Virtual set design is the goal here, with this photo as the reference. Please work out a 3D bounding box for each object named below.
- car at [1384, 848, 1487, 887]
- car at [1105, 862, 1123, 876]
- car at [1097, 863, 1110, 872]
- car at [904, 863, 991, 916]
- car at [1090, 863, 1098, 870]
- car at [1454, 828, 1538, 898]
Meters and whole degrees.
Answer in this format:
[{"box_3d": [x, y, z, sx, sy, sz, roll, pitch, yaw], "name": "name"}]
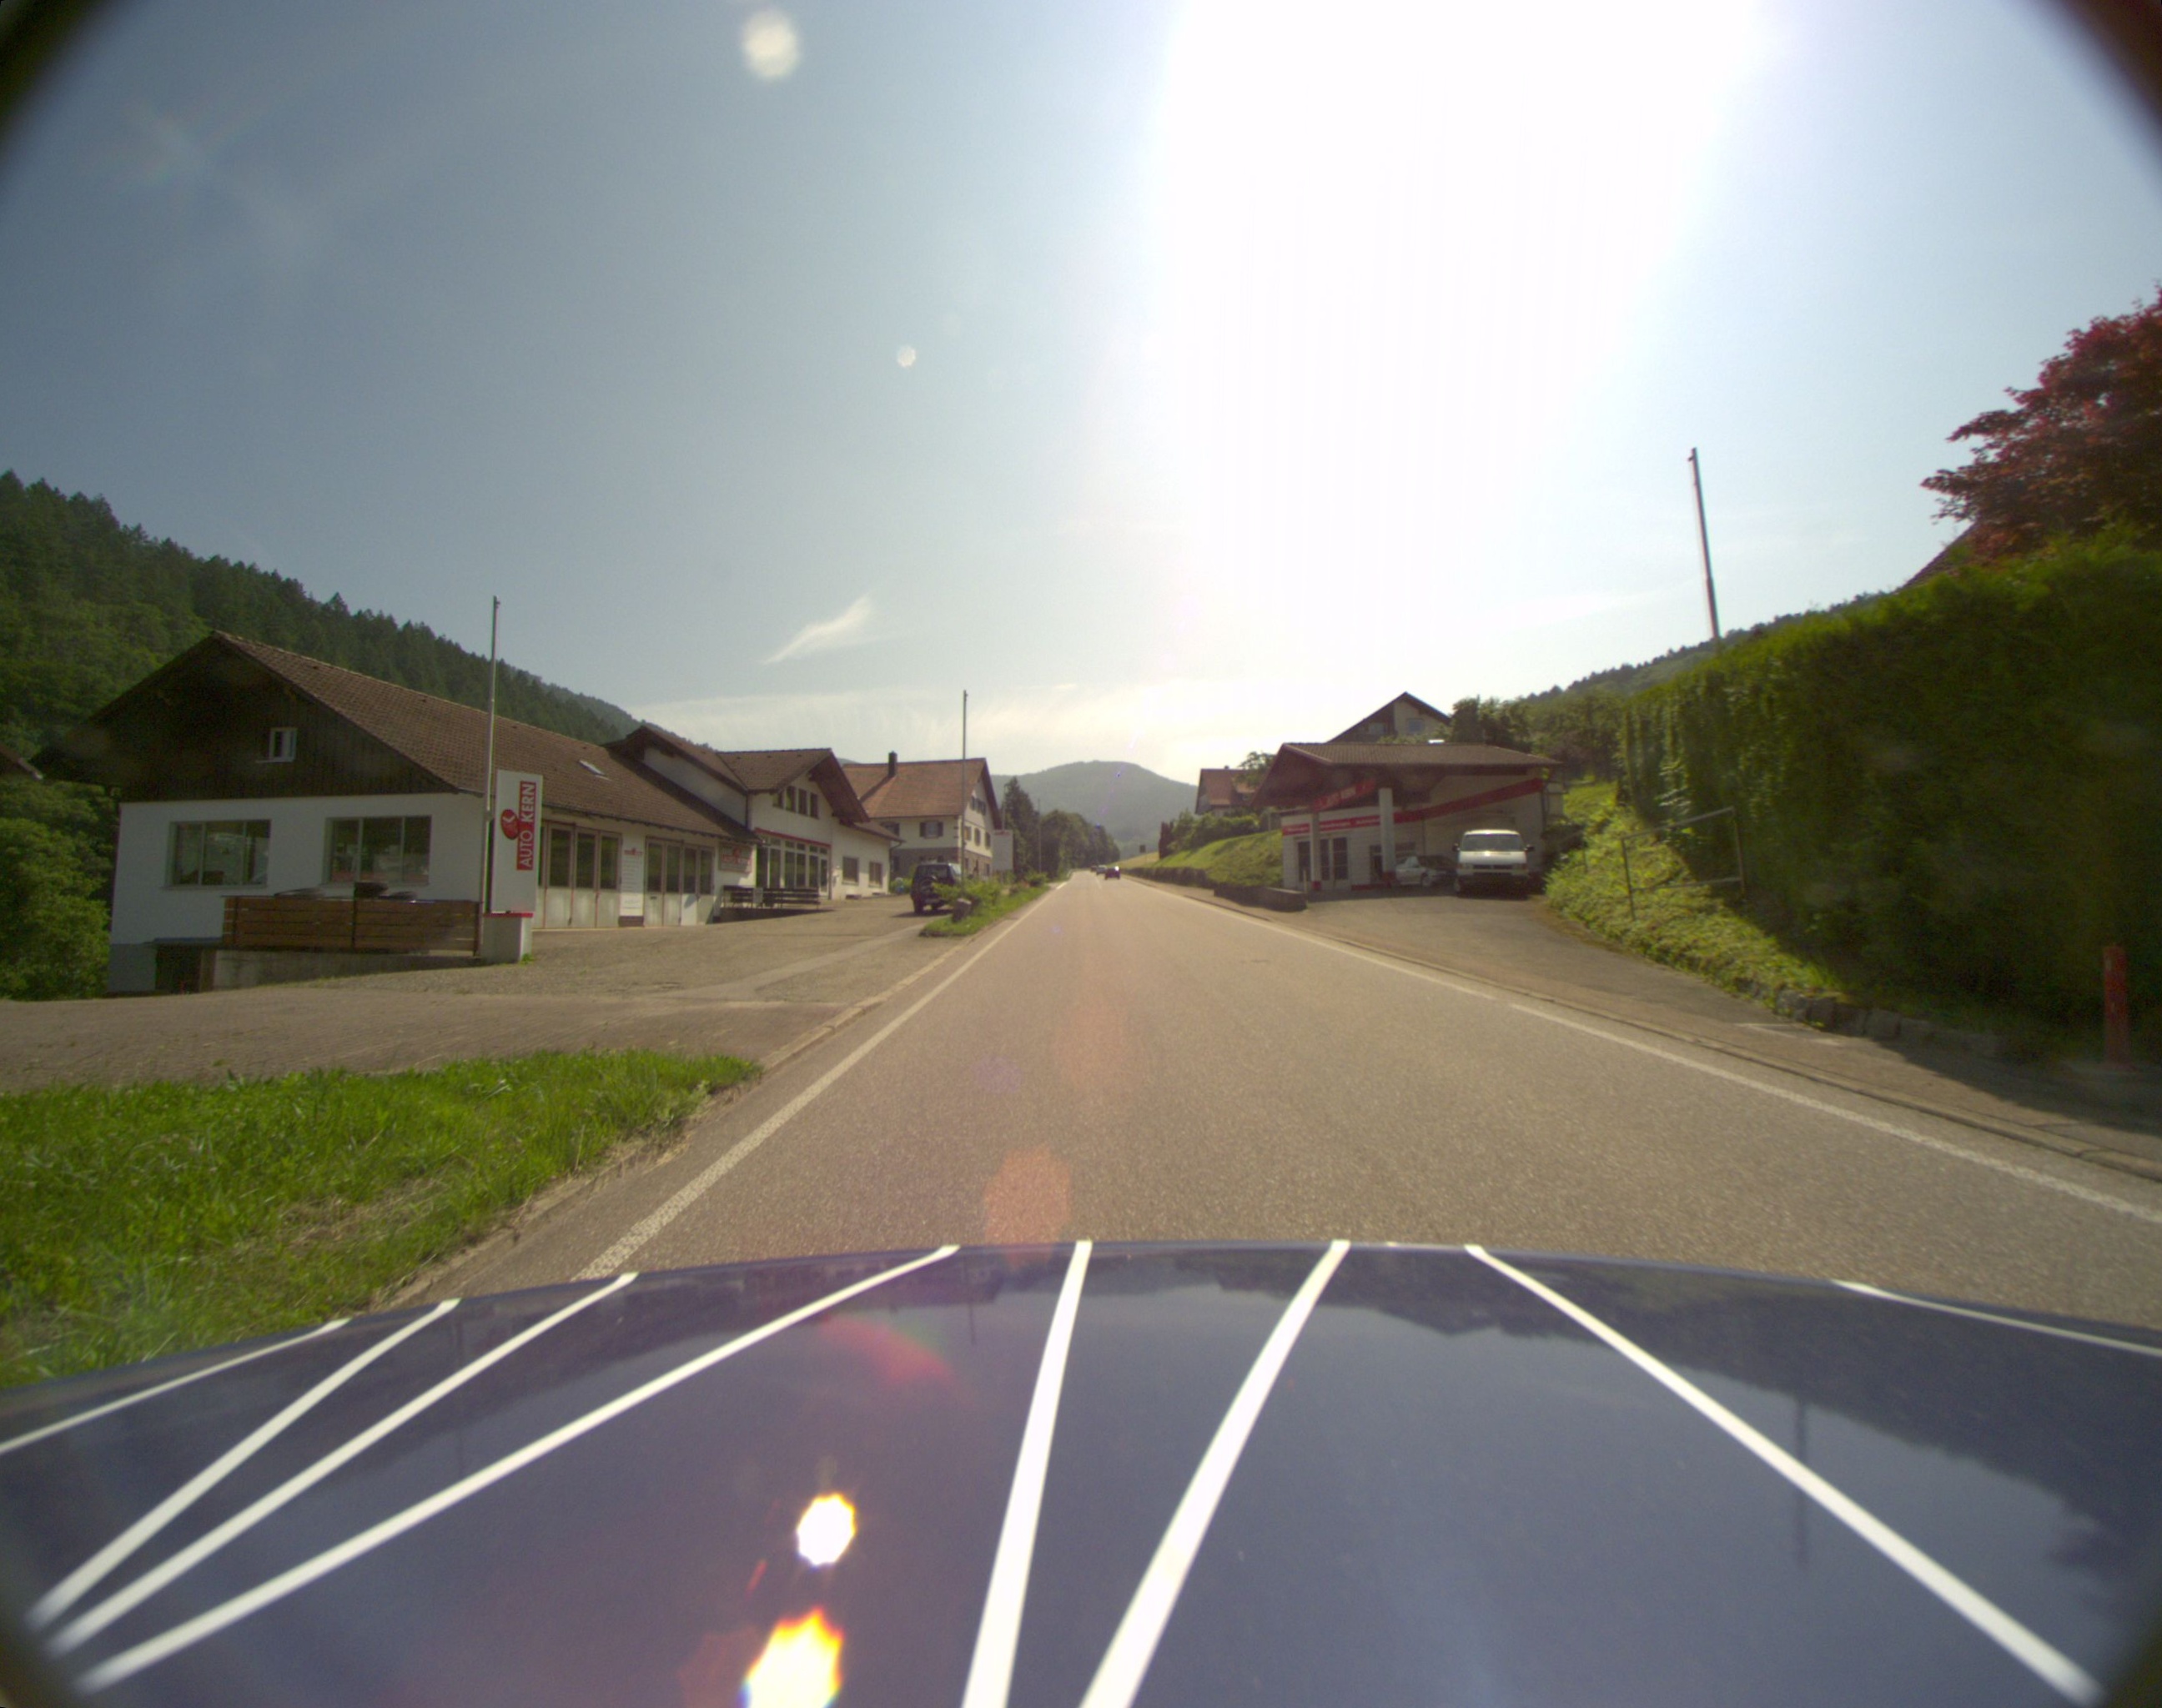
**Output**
[{"box_3d": [14.001, 0.590, 30.316, 1.963, 1.405, 4.344, -1, -2, -1], "name": "car"}, {"box_3d": [3.819, 1.765, 88.478, 1.816, 1.500, 4.262, -2, 0, -1], "name": "car"}, {"box_3d": [3.681, 2.235, 126.359, 1.816, 1.500, 4.262, -2, 0, -2], "name": "car"}, {"box_3d": [-4.826, 1.232, 28.122, 1.812, 1.802, 4.666, 0, 0, 8], "name": "car"}, {"box_3d": [3.065, 2.923, 179.080, 1.816, 1.500, 4.262, -2, 0, -2], "name": "car"}, {"box_3d": [12.761, 0.159, 23.469, 2.021, 1.919, 4.785, 2, 3, 28], "name": "car"}]
